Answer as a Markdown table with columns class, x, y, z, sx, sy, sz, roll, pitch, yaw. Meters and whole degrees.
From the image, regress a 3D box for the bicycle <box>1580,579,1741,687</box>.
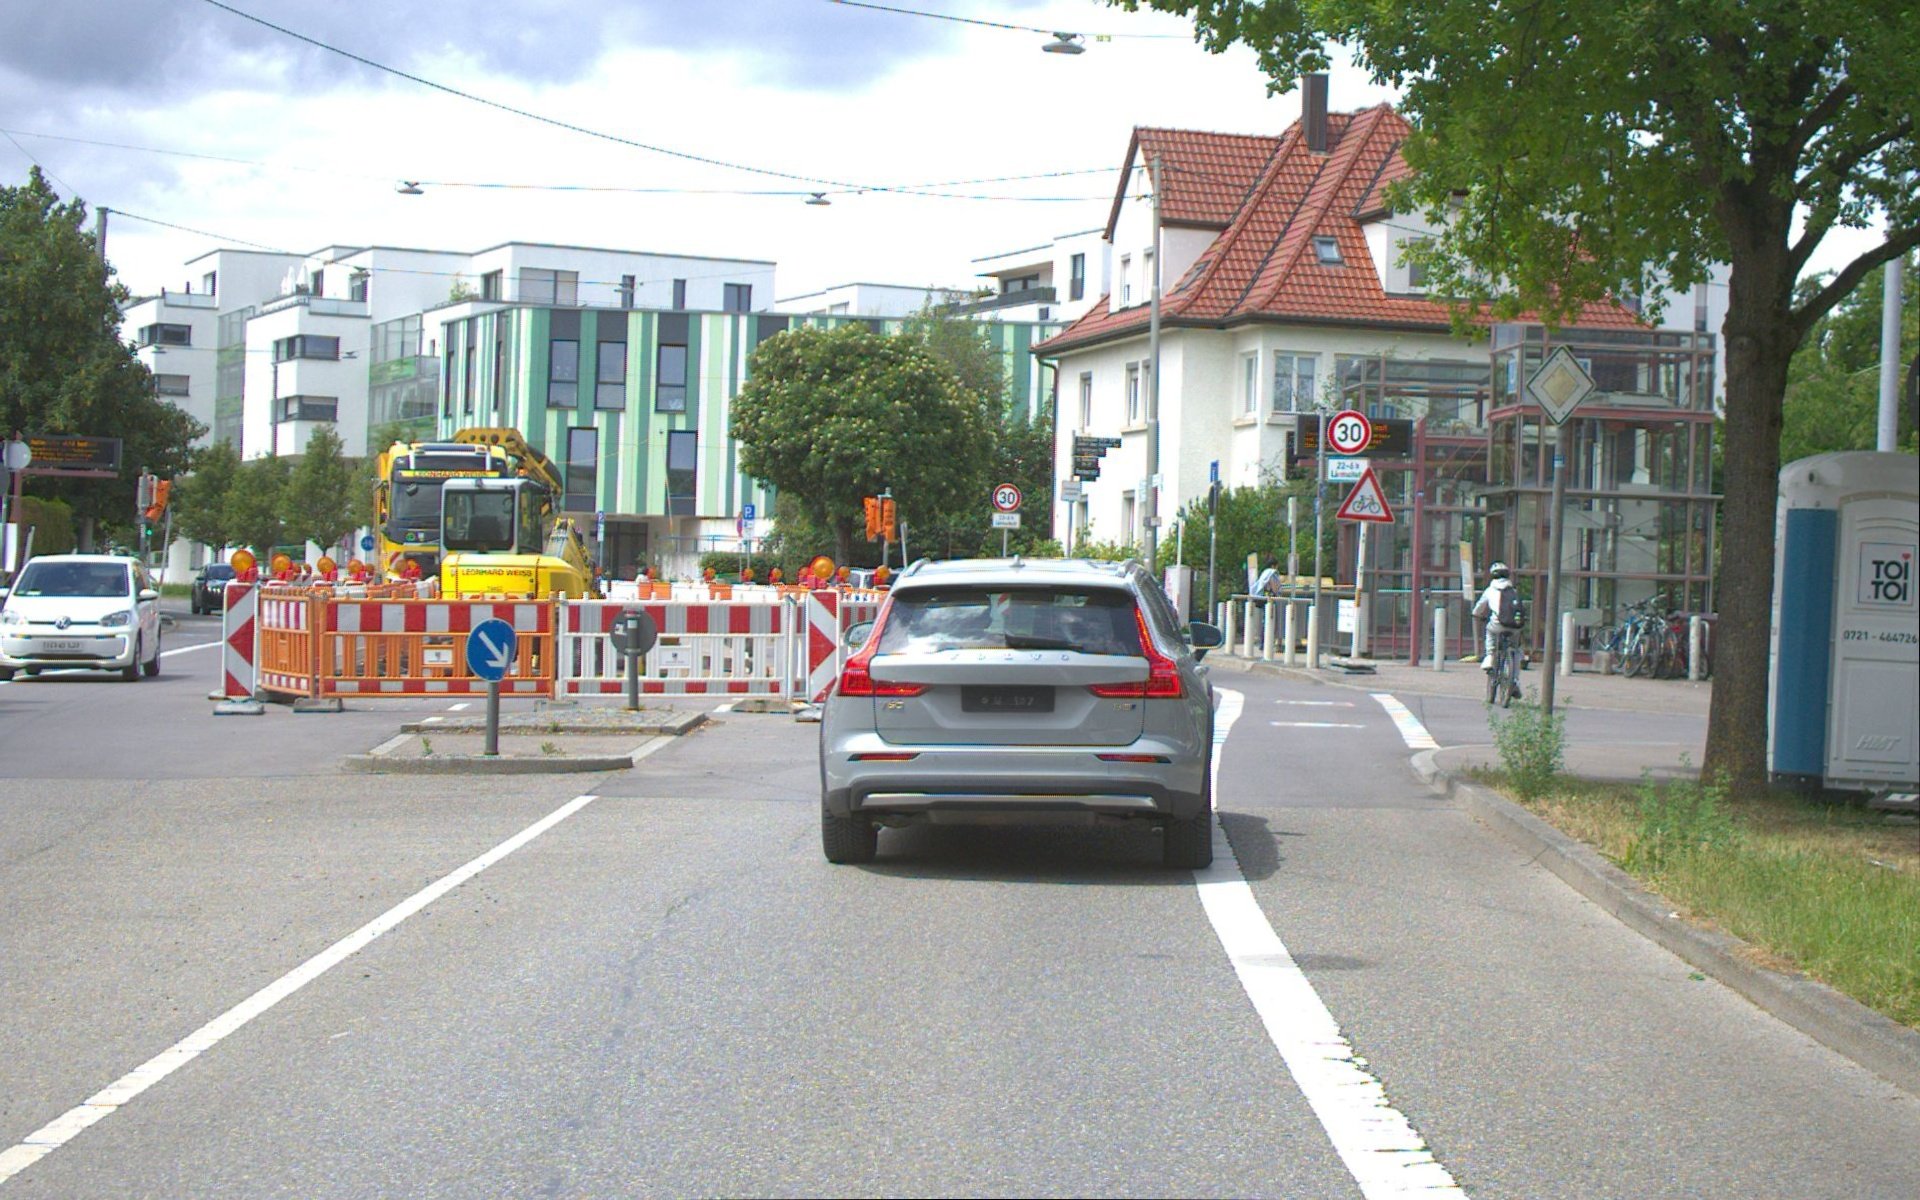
| class | x | y | z | sx | sy | sz | roll | pitch | yaw |
| --- | --- | --- | --- | --- | --- | --- | --- | --- | --- |
| bicycle | 9.580 | 0.431 | 47.219 | 1.391 | 1.186 | 3.472 | 4 | 3 | -1 |

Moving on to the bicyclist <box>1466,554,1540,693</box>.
| class | x | y | z | sx | sy | sz | roll | pitch | yaw |
| --- | --- | --- | --- | --- | --- | --- | --- | --- | --- |
| bicyclist | 6.282 | 0.272 | 39.788 | 0.589 | 1.553 | 0.567 | 4 | -1 | -8 |

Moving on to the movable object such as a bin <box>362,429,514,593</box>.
| class | x | y | z | sx | sy | sz | roll | pitch | yaw |
| --- | --- | --- | --- | --- | --- | --- | --- | --- | --- |
| movable object such as a bin | -10.251 | -1.709 | 67.068 | 2.310 | 2.980 | 6.429 | 2 | 1 | -14 |

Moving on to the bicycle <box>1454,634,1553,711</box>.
| class | x | y | z | sx | sy | sz | roll | pitch | yaw |
| --- | --- | --- | --- | --- | --- | --- | --- | --- | --- |
| bicycle | 6.257 | 0.825 | 39.668 | 0.594 | 0.809 | 1.754 | 4 | -1 | -8 |

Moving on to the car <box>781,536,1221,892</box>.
| class | x | y | z | sx | sy | sz | roll | pitch | yaw |
| --- | --- | --- | --- | --- | --- | --- | --- | --- | --- |
| car | 0.310 | 0.479 | 17.329 | 1.928 | 1.535 | 4.000 | 1 | 1 | 4 |

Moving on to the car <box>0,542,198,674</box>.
| class | x | y | z | sx | sy | sz | roll | pitch | yaw |
| --- | --- | --- | --- | --- | --- | --- | --- | --- | --- |
| car | -10.436 | 0.119 | 41.026 | 1.887 | 1.503 | 4.000 | 0 | -1 | -1 |

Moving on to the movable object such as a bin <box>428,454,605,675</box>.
| class | x | y | z | sx | sy | sz | roll | pitch | yaw |
| --- | --- | --- | --- | --- | --- | --- | --- | --- | --- |
| movable object such as a bin | -5.716 | -0.472 | 44.894 | 2.034 | 2.634 | 5.941 | 2 | 1 | -6 |
